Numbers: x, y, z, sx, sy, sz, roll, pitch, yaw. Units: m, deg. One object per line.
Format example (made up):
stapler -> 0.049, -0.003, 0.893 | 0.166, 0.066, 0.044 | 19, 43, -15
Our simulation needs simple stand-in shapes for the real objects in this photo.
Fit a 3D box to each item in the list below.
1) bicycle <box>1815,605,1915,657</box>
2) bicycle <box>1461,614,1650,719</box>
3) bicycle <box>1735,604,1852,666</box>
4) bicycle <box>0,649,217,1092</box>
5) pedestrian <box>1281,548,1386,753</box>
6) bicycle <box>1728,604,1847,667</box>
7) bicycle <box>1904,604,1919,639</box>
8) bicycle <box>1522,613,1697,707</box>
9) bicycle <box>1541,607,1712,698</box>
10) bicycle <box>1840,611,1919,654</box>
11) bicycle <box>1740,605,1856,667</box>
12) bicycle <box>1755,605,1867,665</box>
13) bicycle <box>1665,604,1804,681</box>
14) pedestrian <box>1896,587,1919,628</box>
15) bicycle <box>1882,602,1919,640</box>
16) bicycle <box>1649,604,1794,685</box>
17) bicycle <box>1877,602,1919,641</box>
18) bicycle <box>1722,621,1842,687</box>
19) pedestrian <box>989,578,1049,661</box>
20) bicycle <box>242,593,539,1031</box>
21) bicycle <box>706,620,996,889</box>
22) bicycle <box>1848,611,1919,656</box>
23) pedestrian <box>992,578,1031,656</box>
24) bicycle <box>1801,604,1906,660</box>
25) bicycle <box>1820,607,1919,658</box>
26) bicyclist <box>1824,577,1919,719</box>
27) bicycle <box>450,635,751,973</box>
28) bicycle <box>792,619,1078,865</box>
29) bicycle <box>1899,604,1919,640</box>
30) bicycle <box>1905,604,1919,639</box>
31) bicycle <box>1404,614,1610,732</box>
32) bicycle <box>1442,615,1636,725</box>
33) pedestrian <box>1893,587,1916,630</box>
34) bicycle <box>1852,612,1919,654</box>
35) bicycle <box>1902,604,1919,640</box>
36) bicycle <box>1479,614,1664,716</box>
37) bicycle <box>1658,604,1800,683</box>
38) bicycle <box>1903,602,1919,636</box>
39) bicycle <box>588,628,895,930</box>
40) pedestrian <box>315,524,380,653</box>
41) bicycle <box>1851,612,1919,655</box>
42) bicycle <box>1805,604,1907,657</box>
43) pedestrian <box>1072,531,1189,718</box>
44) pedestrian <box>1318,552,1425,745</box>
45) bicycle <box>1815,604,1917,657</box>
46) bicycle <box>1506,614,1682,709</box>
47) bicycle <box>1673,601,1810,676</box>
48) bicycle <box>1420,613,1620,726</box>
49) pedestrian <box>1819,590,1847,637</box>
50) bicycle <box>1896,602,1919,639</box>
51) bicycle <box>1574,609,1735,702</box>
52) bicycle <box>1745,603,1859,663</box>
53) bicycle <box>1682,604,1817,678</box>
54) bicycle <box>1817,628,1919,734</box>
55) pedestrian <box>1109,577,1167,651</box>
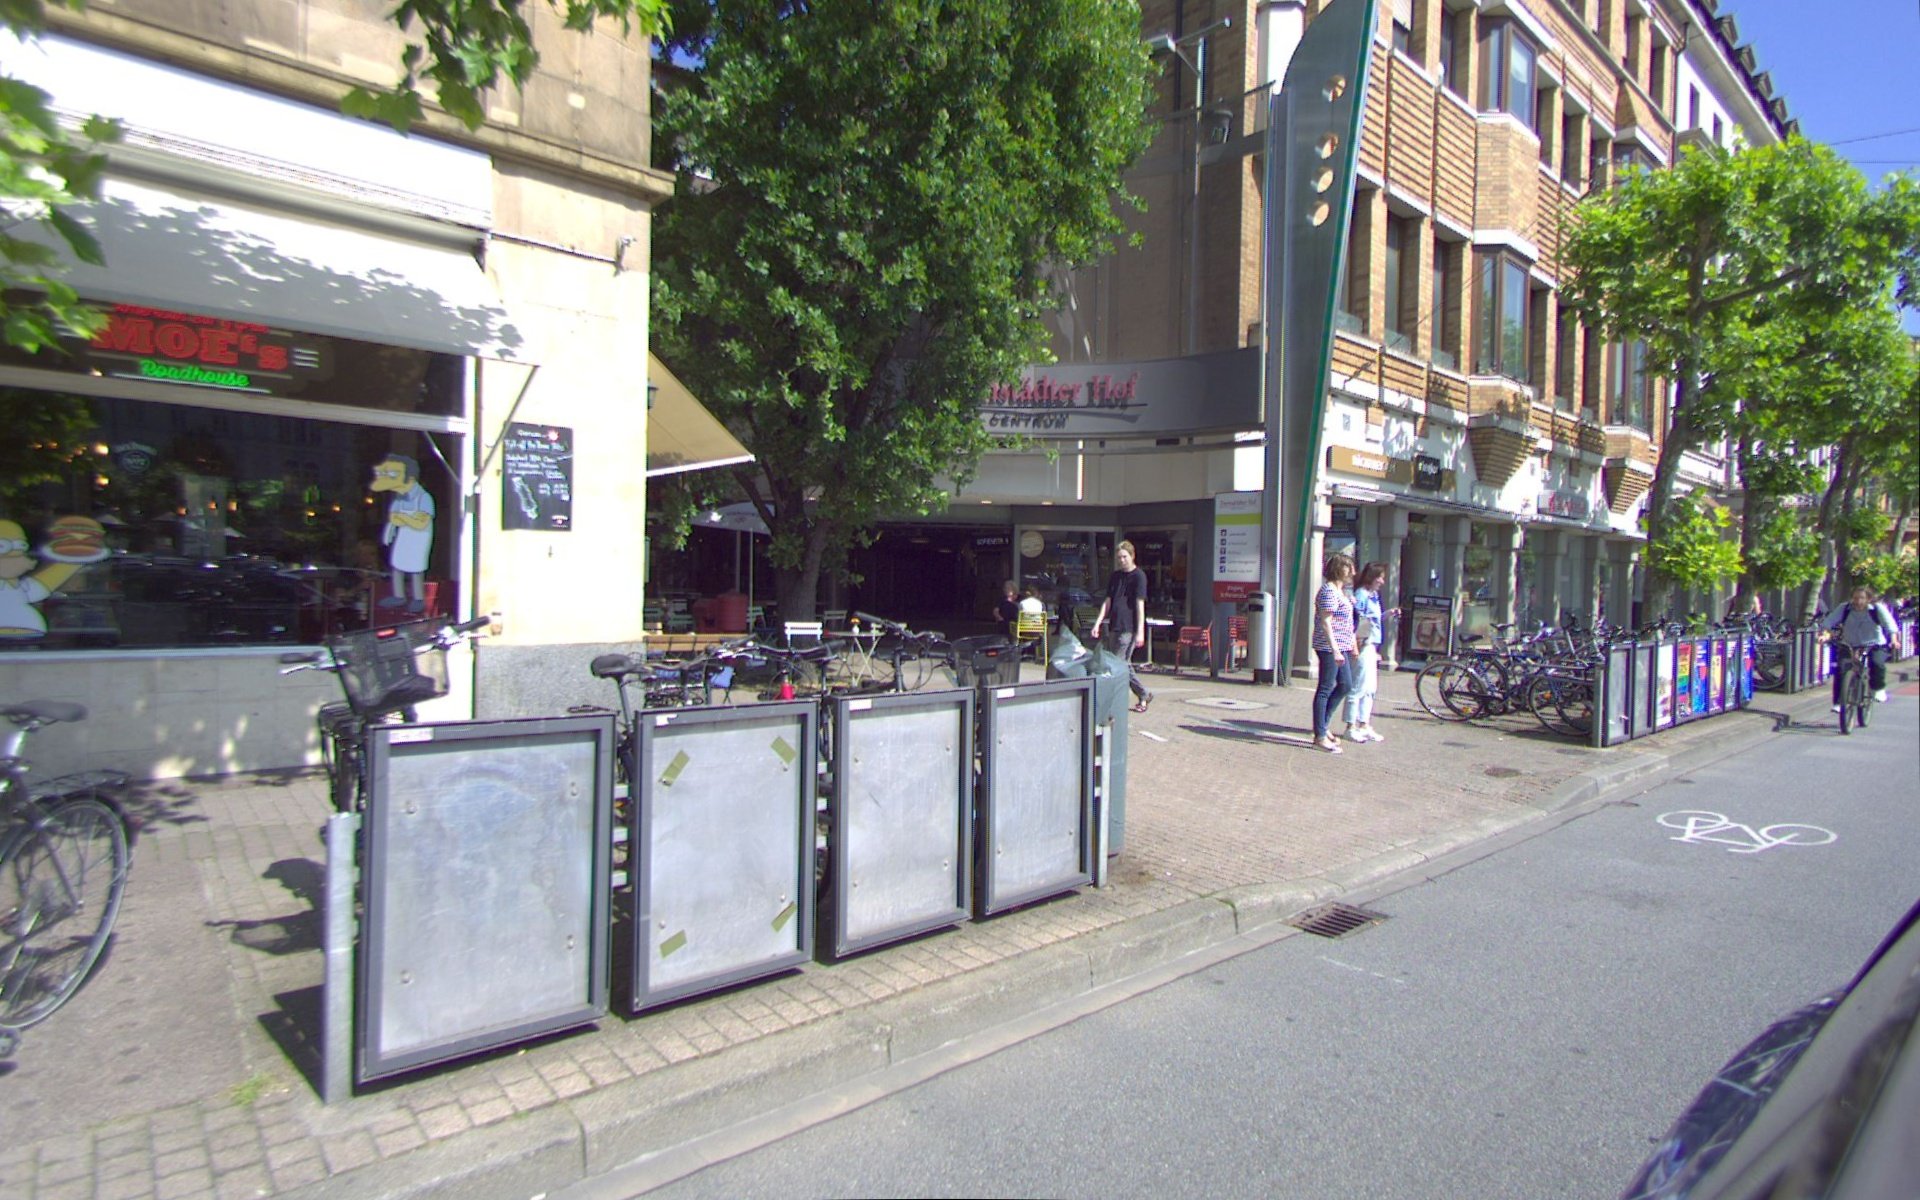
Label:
bicycle -> 21.851, 0.733, 24.454 | 0.518, 1.161, 1.755 | -1, 2, -42
bicycle -> 6.601, 0.696, 11.304 | 0.474, 1.031, 1.755 | 0, 1, -42
bicycle -> 16.658, 0.676, 20.270 | 0.474, 1.161, 1.755 | 0, 1, -42
bicycle -> -2.747, 0.701, 2.660 | 0.644, 1.031, 1.762 | 1, 1, -13
pedestrian -> 3.206, 0.402, 8.675 | 0.598, 1.646, 0.635 | 4, 3, 37
bicycle -> 16.285, 0.676, 19.947 | 0.474, 1.161, 1.755 | 0, 1, -42
bicycle -> 32.569, 0.735, 33.594 | 0.582, 1.161, 1.755 | 0, 1, -42
bicycle -> 7.964, 0.702, 12.479 | 0.474, 1.031, 1.755 | 0, 1, -42
bicycle -> 8.447, 0.632, 12.888 | 0.474, 1.031, 1.755 | 0, 1, -42
bicycle -> 26.730, 0.918, 29.368 | 0.474, 1.161, 1.755 | 0, 1, -42
bicycle -> 17.027, 0.707, 20.595 | 0.474, 1.161, 1.755 | 0, 1, -42
bicycle -> 17.886, 0.716, 21.297 | 0.491, 1.161, 1.755 | 0, 1, -42
bicycle -> 12.680, 0.666, 16.612 | 0.474, 1.161, 1.755 | 0, 1, -42
pedestrian -> 42.758, 0.331, 45.642 | 0.763, 1.805, 0.720 | 0, -1, -42
bicycle -> 30.218, 0.677, 31.839 | 0.474, 1.161, 1.755 | 0, 1, -42
bicycle -> 11.972, 0.668, 15.957 | 0.474, 1.161, 1.755 | 0, 1, -42
bicycle -> 29.797, 0.669, 31.527 | 0.474, 1.161, 1.776 | 0, 1, -42
bicycle -> 15.951, 1.029, 19.666 | 0.474, 1.161, 1.755 | 0, 1, -42
pedestrian -> 0.948, 0.301, 16.142 | 0.636, 1.271, 0.783 | -1, -1, 37
bicycle -> -2.132, 0.584, 3.665 | 0.569, 1.196, 1.755 | 0, 1, -42
bicycle -> -0.603, 0.650, 4.962 | 0.474, 1.031, 1.755 | 0, 1, -42
bicycle -> 25.078, 0.893, 27.205 | 0.474, 1.119, 1.755 | 0, 1, -42
pedestrian -> 0.860, 0.276, 16.999 | 0.628, 1.271, 0.793 | 0, -1, 3
bicycle -> 20.582, 0.708, 23.340 | 0.474, 1.202, 1.755 | 0, 1, -42
bicycle -> 22.275, 0.765, 24.806 | 0.474, 1.161, 1.755 | 0, 1, -42
bicyclist -> 10.793, 0.542, 11.975 | 0.765, 1.597, 0.749 | 0, -1, -41
bicycle -> -1.561, 0.706, 4.198 | 0.547, 1.031, 1.755 | 0, 1, -42
bicycle -> -0.203, 0.648, 5.329 | 0.474, 1.031, 1.755 | 0, 1, -42
bicycle -> 32.077, 0.739, 33.250 | 0.474, 1.161, 1.755 | 0, 1, -42
bicycle -> 33.017, 0.734, 34.042 | 0.582, 1.161, 1.755 | 0, 1, -42
bicycle -> 5.439, 0.687, 10.153 | 0.474, 1.031, 1.755 | 0, 1, -42
bicycle -> 6.206, 0.713, 10.935 | 0.474, 1.031, 1.755 | 0, 1, -42
pedestrian -> 39.808, 0.351, 42.651 | 0.763, 1.816, 0.634 | 0, -1, -42
bicycle -> 25.795, 0.899, 27.909 | 0.474, 1.082, 1.755 | 0, 1, -42
bicycle -> 31.764, 0.722, 32.818 | 0.474, 1.161, 1.755 | 0, 1, -42
bicycle -> 6.983, 0.703, 11.638 | 0.474, 1.031, 1.755 | 0, 1, -42
bicycle -> 12.340, 0.669, 16.283 | 0.474, 1.161, 1.755 | 0, 1, -42
bicycle -> 33.798, 0.661, 34.942 | 0.582, 1.161, 1.755 | 0, 1, -42
bicycle -> -1.074, 0.696, 4.650 | 0.577, 1.030, 1.755 | 0, 2, -42
pedestrian -> -5.124, -0.093, 8.468 | 0.398, 1.036, 0.455 | 0, -1, -40
bicycle -> 25.431, 0.903, 27.535 | 0.474, 1.101, 1.755 | 0, 1, -42
bicycle -> 21.007, 0.697, 23.760 | 0.474, 1.161, 1.755 | 0, 1, -42
pedestrian -> 1.736, 0.224, 10.306 | 0.966, 1.803, 0.670 | 0, 1, -36
pedestrian -> 3.736, 0.403, 9.179 | 0.694, 1.646, 0.693 | 3, 2, 38
bicycle -> 21.489, 0.701, 24.040 | 0.474, 1.161, 1.755 | 0, 1, -42
bicycle -> 7.529, 0.695, 12.084 | 0.474, 0.997, 1.719 | 0, 1, -42
bicycle -> 13.049, 0.620, 16.943 | 0.474, 1.161, 1.755 | 0, 1, -42
bicycle -> 5.792, 0.684, 10.555 | 0.474, 1.031, 1.755 | 0, 1, -42
pedestrian -> 32.327, 0.480, 37.479 | 0.664, 1.718, 0.658 | 0, -1, -39
bicycle -> 31.254, 0.678, 32.478 | 0.474, 1.161, 1.755 | 0, 1, -42
bicycle -> 9.505, 0.723, 13.915 | 0.474, 1.161, 1.755 | 0, 1, -42
bicycle -> 17.402, 0.655, 20.956 | 0.474, 1.161, 1.755 | 0, 1, -42
bicycle -> 13.466, 0.676, 17.307 | 0.474, 1.161, 1.755 | 0, 1, -42
bicycle -> 10.727, 0.908, 11.904 | 1.865, 1.107, 0.735 | 0, -1, -42
pedestrian -> 3.136, 0.248, 17.845 | 0.628, 1.271, 0.793 | 0, -1, -37
